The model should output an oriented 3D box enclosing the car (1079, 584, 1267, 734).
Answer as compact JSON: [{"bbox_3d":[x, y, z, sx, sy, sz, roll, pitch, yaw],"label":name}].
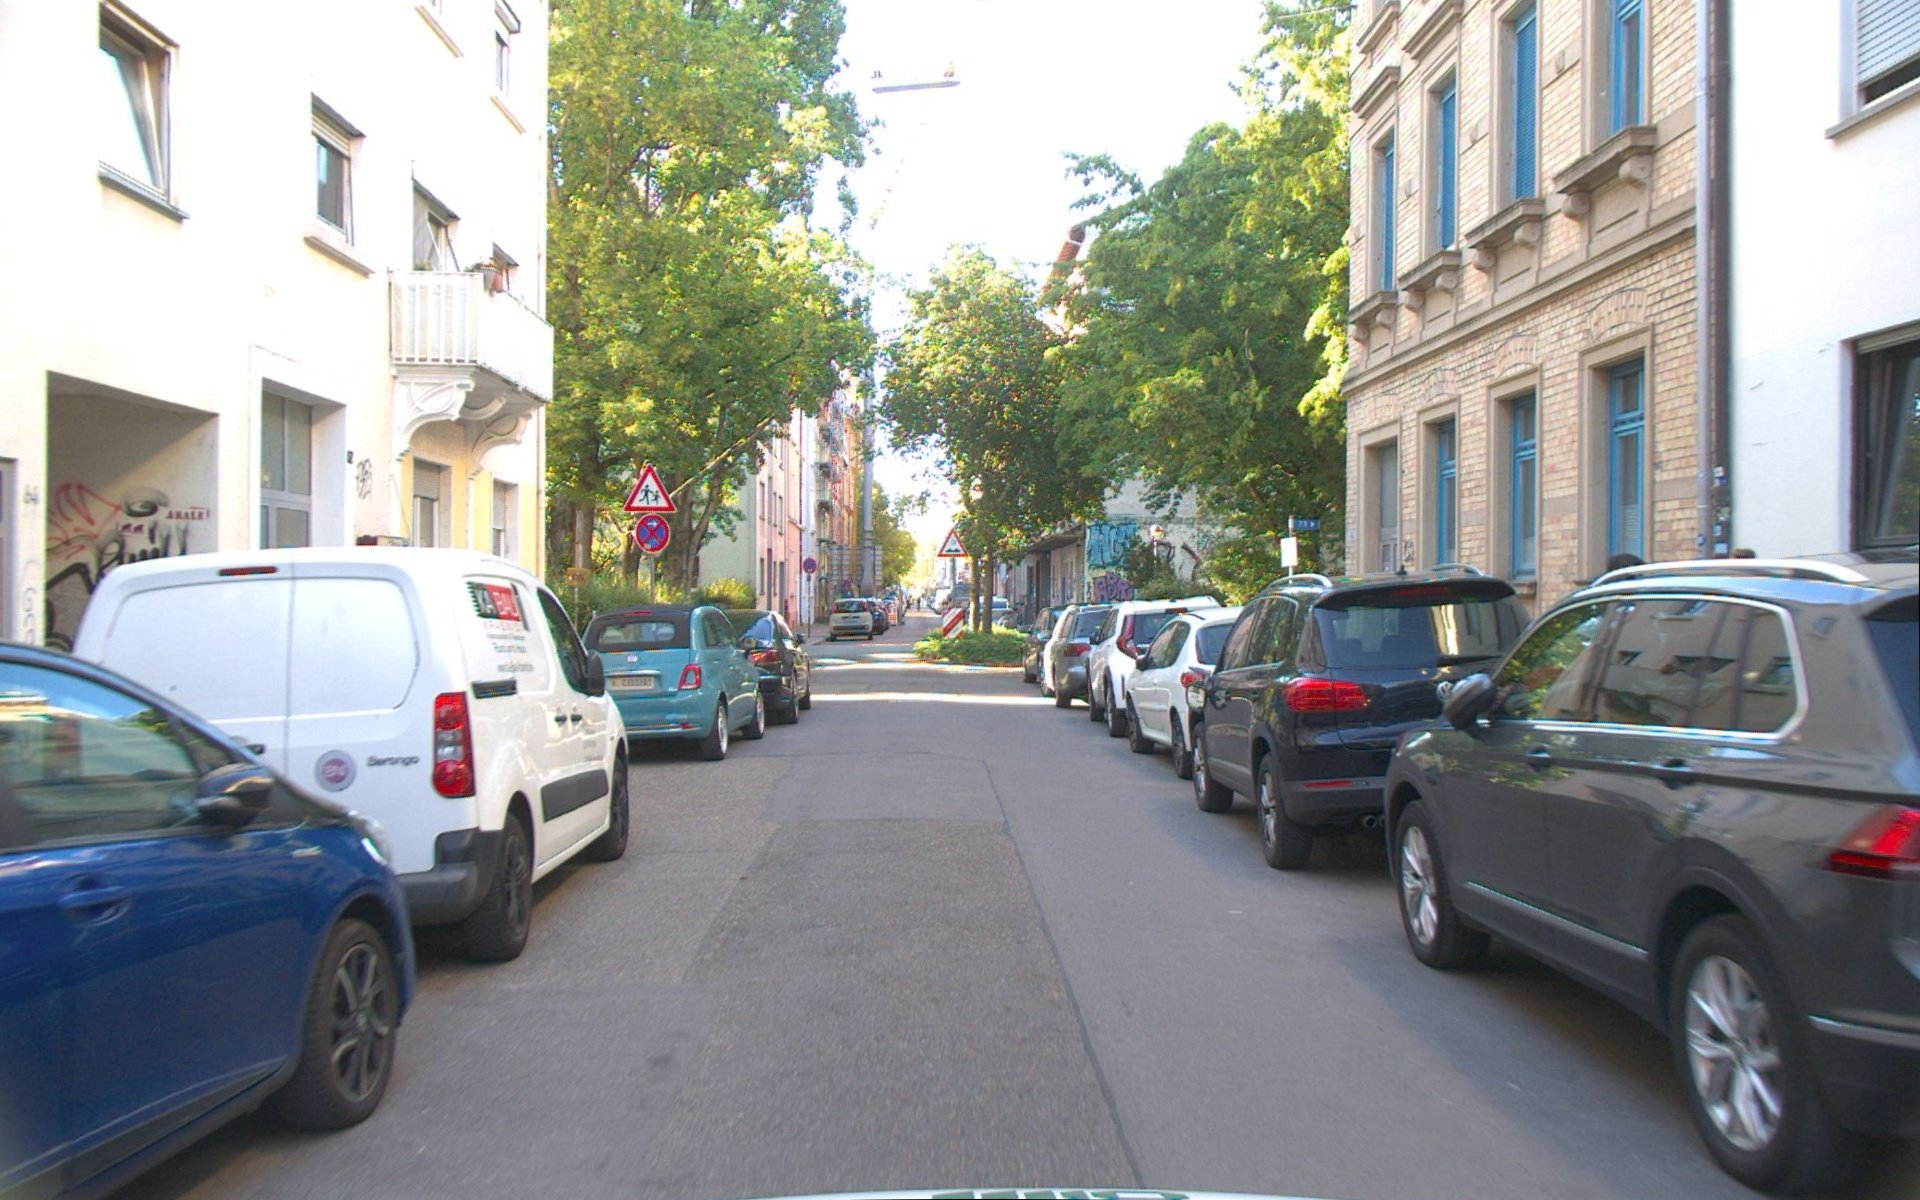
[{"bbox_3d":[2.485,0.636,20.138,1.642,1.588,3.795,-2,0,-2],"label":"car"}]

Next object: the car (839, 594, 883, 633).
[{"bbox_3d":[-4.025,0.531,67.836,1.642,1.513,4.093,-2,0,-2],"label":"car"}]

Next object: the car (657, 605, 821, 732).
[{"bbox_3d":[-2.759,0.805,21.403,1.636,1.385,4.048,-2,0,-2],"label":"car"}]

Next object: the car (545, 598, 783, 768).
[{"bbox_3d":[-2.960,0.767,17.294,1.635,1.495,3.821,-2,0,2],"label":"car"}]

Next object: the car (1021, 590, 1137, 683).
[{"bbox_3d":[2.097,0.602,30.035,1.642,1.513,4.093,-2,0,-2],"label":"car"}]

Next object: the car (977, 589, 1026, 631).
[{"bbox_3d":[1.584,0.359,63.927,1.642,1.513,3.636,-2,0,-2],"label":"car"}]

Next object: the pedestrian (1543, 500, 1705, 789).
[{"bbox_3d":[4.040,0.259,10.111,0.672,1.689,0.717,-1,0,-2],"label":"pedestrian"}]

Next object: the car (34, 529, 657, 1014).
[{"bbox_3d":[-2.748,0.645,8.443,1.730,1.816,4.037,-2,0,-2],"label":"car"}]

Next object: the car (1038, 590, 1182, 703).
[{"bbox_3d":[2.179,0.633,25.034,1.642,1.513,4.093,-2,0,-2],"label":"car"}]

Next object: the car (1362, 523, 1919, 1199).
[{"bbox_3d":[2.834,0.601,5.698,1.642,1.655,4.249,-4,0,-2],"label":"car"}]

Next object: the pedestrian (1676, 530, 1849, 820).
[{"bbox_3d":[4.859,0.436,10.051,0.672,1.689,0.717,-1,0,-2],"label":"pedestrian"}]

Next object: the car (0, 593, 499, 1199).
[{"bbox_3d":[-2.585,0.781,3.832,1.638,1.512,3.994,-2,0,4],"label":"car"}]

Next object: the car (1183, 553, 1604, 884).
[{"bbox_3d":[2.601,0.650,10.916,1.641,1.711,4.094,-2,0,0],"label":"car"}]

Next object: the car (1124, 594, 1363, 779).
[{"bbox_3d":[2.600,0.732,15.928,1.535,1.509,3.618,-2,0,-2],"label":"car"}]

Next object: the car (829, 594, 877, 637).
[{"bbox_3d":[-4.008,0.569,62.558,1.642,1.513,4.093,-2,0,-2],"label":"car"}]
